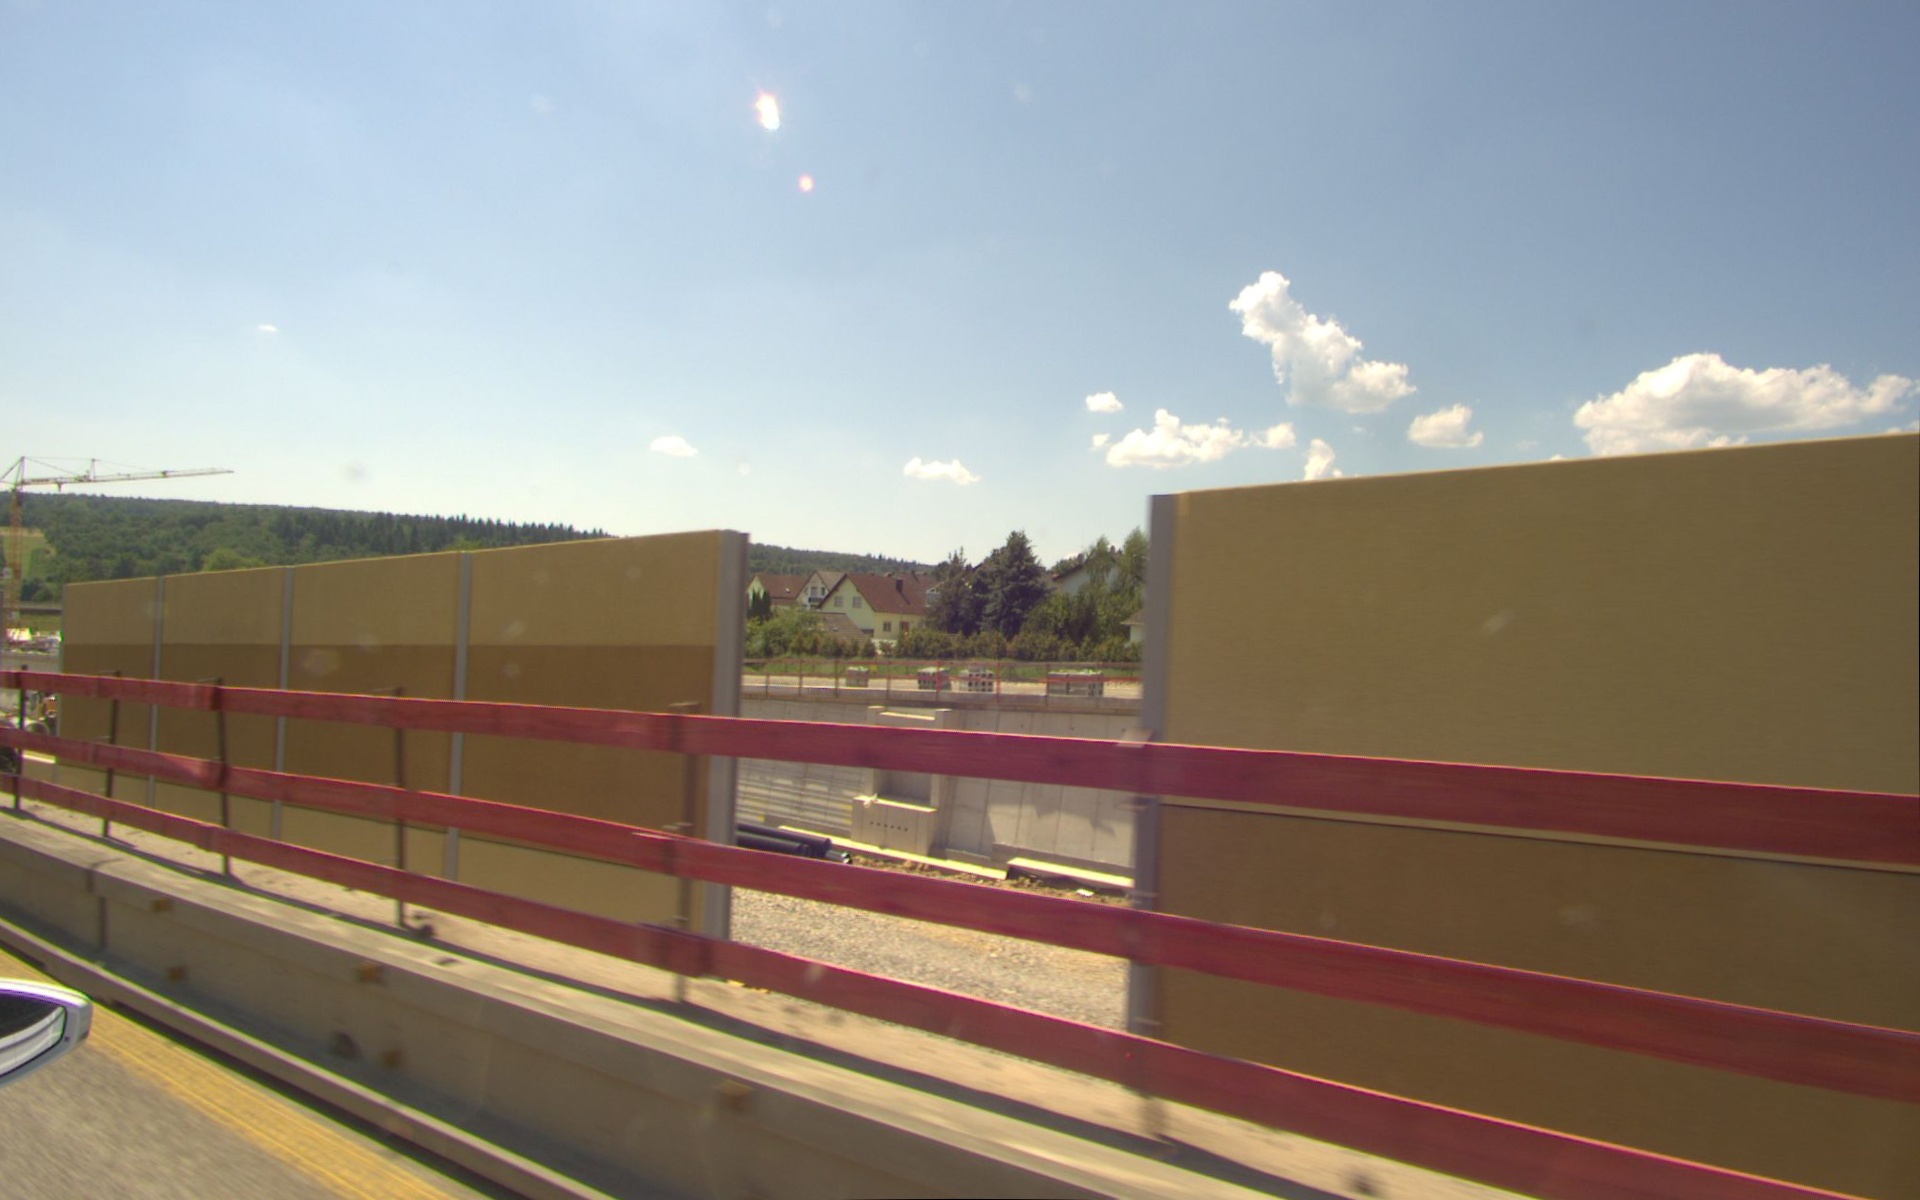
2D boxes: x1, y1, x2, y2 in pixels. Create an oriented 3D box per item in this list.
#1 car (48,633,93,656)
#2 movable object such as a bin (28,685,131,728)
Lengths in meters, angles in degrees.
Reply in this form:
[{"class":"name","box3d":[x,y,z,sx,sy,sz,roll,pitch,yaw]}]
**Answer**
[{"class":"car","box3d":[-84.427,4.215,95.054,4.753,2.039,1.804,-1,-2,30]},{"class":"movable object such as a bin","box3d":[-58.897,7.056,66.935,7.784,2.475,3.159,-1,-4,33]}]
